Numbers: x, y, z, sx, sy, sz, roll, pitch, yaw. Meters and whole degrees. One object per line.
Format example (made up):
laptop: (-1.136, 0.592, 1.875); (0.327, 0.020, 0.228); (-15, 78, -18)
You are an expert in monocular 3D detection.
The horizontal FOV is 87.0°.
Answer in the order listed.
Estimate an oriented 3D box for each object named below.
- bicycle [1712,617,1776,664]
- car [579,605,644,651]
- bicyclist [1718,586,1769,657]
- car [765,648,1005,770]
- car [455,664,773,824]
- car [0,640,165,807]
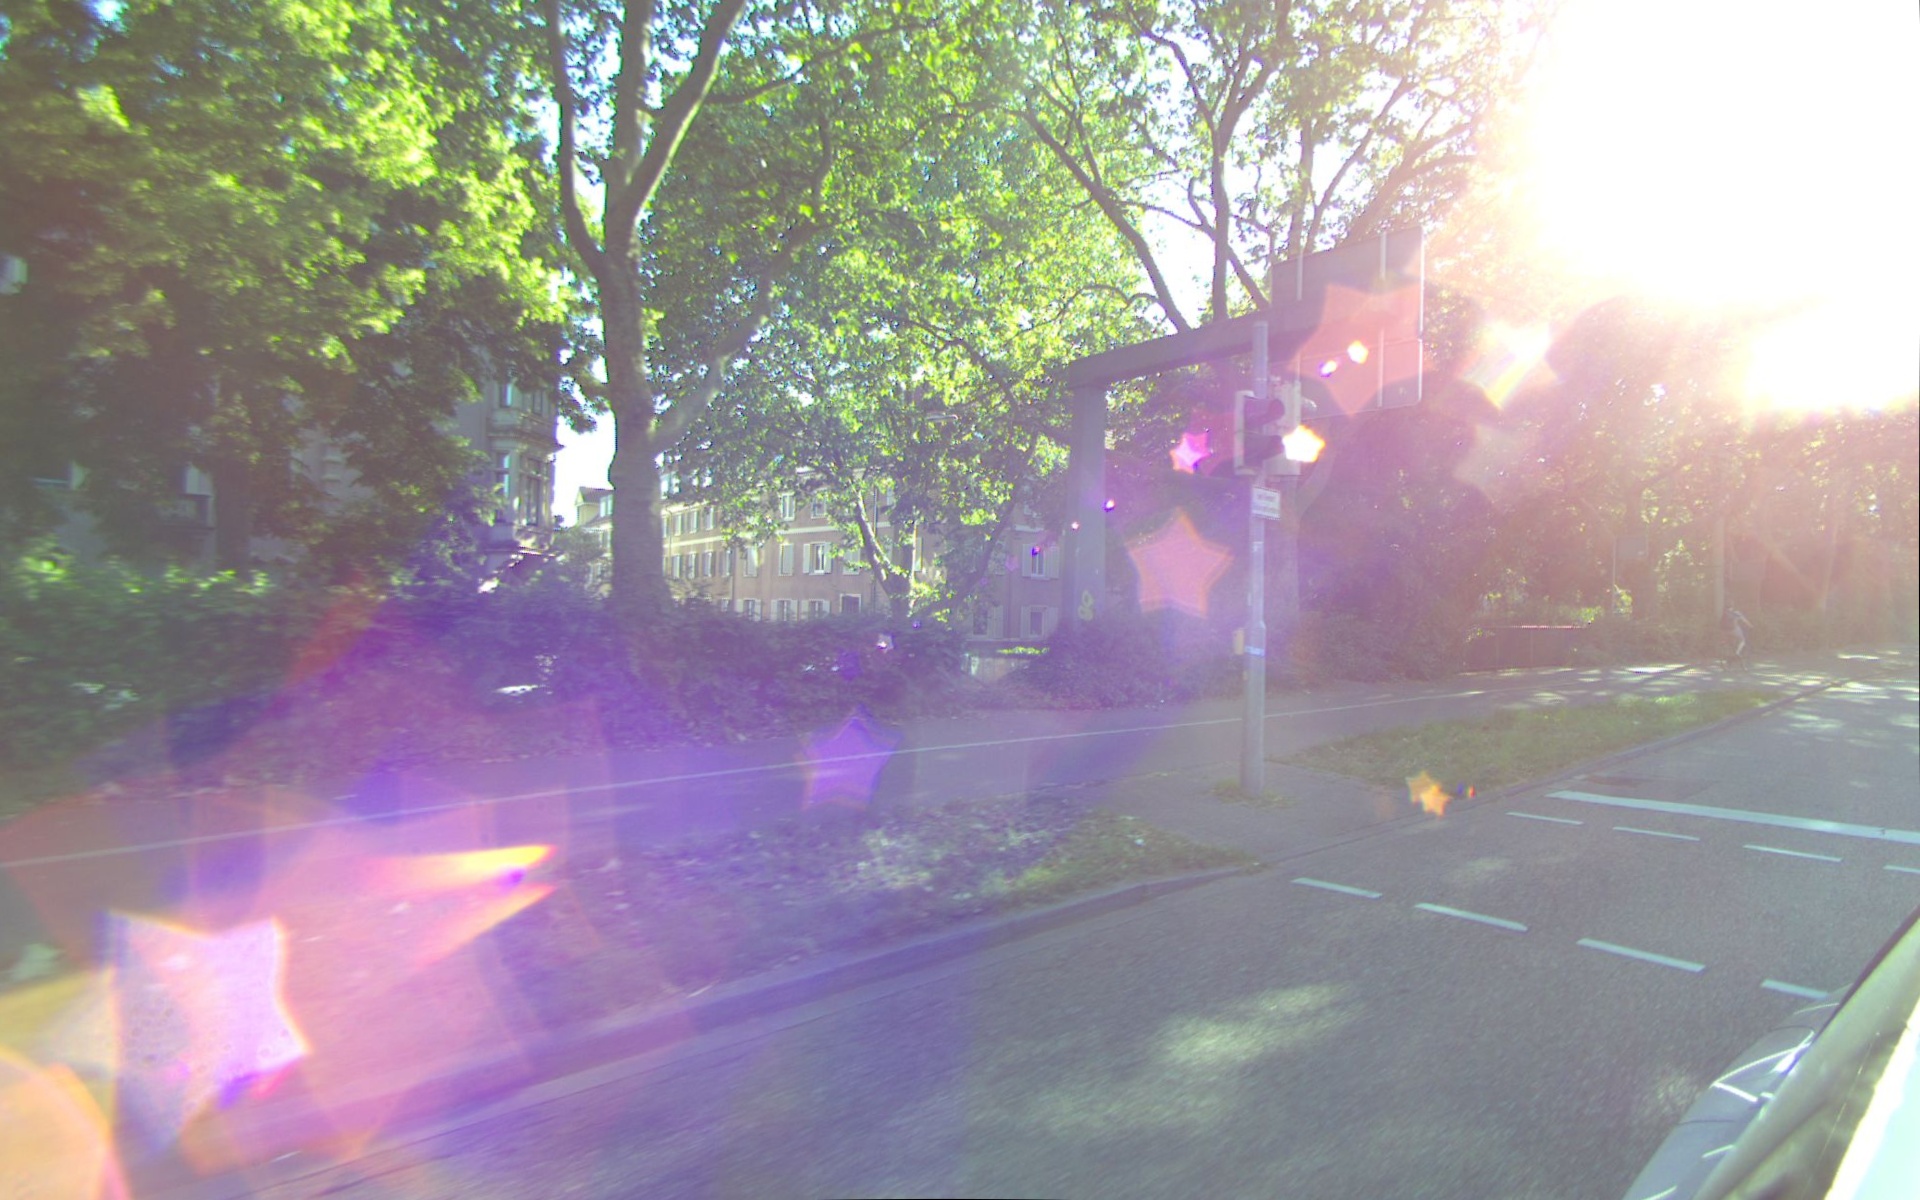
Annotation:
bicycle: (19.849, 1.023, 25.606); (1.892, 1.122, 0.702); (2, -1, -33)
car: (-22.359, 1.734, 64.732); (2.485, 2.654, 6.125); (5, -3, -32)
bicyclist: (19.823, 0.531, 25.591); (1.059, 1.750, 0.702); (2, -1, -33)
car: (-1.294, 1.849, 18.388); (4.027, 1.835, 1.907); (1, -1, -41)
car: (-4.994, 1.953, 14.906); (4.027, 1.835, 1.907); (1, -1, -41)
car: (-14.992, 1.782, 15.798); (4.408, 2.040, 1.984); (2, 0, 20)
